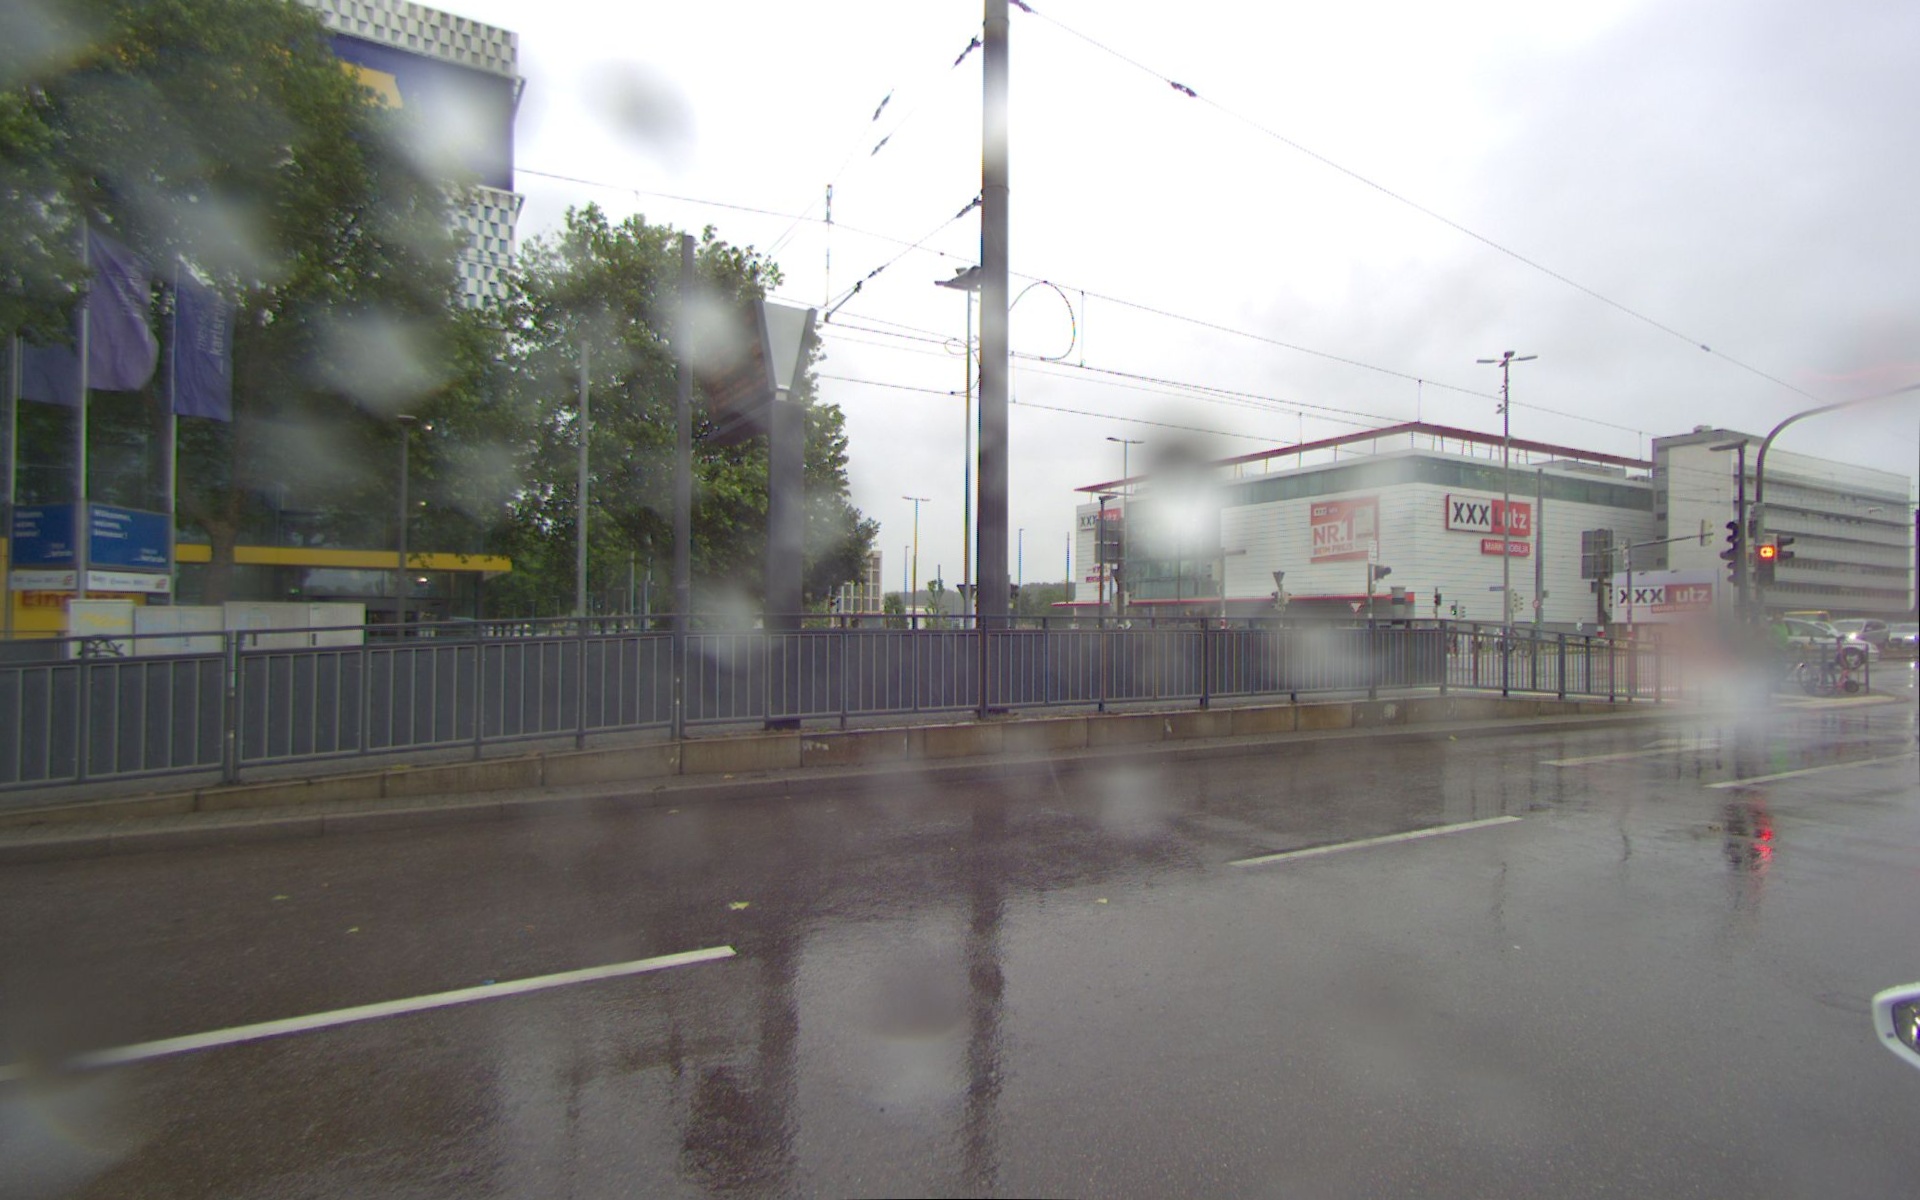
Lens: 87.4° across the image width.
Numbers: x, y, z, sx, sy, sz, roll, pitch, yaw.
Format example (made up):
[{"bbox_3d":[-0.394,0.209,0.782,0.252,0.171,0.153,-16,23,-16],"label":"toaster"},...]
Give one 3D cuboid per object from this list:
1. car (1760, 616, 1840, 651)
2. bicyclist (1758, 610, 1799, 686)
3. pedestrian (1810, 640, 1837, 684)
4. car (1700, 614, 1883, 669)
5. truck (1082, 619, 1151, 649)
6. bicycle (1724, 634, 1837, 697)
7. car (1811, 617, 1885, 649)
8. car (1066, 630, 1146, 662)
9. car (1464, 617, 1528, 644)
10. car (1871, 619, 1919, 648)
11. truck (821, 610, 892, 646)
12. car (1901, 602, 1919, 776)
[{"bbox_3d":[39.818,1.584,47.614,3.765,1.445,1.702,3,1,-30],"label":"car"},{"bbox_3d":[16.783,0.963,20.594,0.596,1.511,0.597,2,1,40],"label":"bicyclist"},{"bbox_3d":[18.494,1.330,21.511,0.376,0.909,0.313,1,2,-32],"label":"pedestrian"},{"bbox_3d":[26.566,1.280,32.272,4.170,1.447,1.650,3,1,23],"label":"car"},{"bbox_3d":[12.125,2.630,78.361,1.990,1.968,5.847,3,1,-31],"label":"truck"},{"bbox_3d":[16.749,1.321,20.542,1.732,1.153,0.517,2,1,40],"label":"bicycle"},{"bbox_3d":[44.797,1.664,50.667,3.765,1.445,1.702,3,1,-30],"label":"car"},{"bbox_3d":[7.766,2.427,53.642,4.007,1.394,1.598,3,1,43],"label":"car"},{"bbox_3d":[31.171,1.765,58.372,3.765,1.372,1.471,3,1,-30],"label":"car"},{"bbox_3d":[50.976,1.820,54.261,3.527,1.445,1.552,3,1,-30],"label":"car"},{"bbox_3d":[-7.889,2.034,75.579,2.445,2.240,7.329,3,1,-31],"label":"truck"},{"bbox_3d":[12.372,0.997,10.883,4.609,1.799,1.921,2,0,-30],"label":"car"}]
